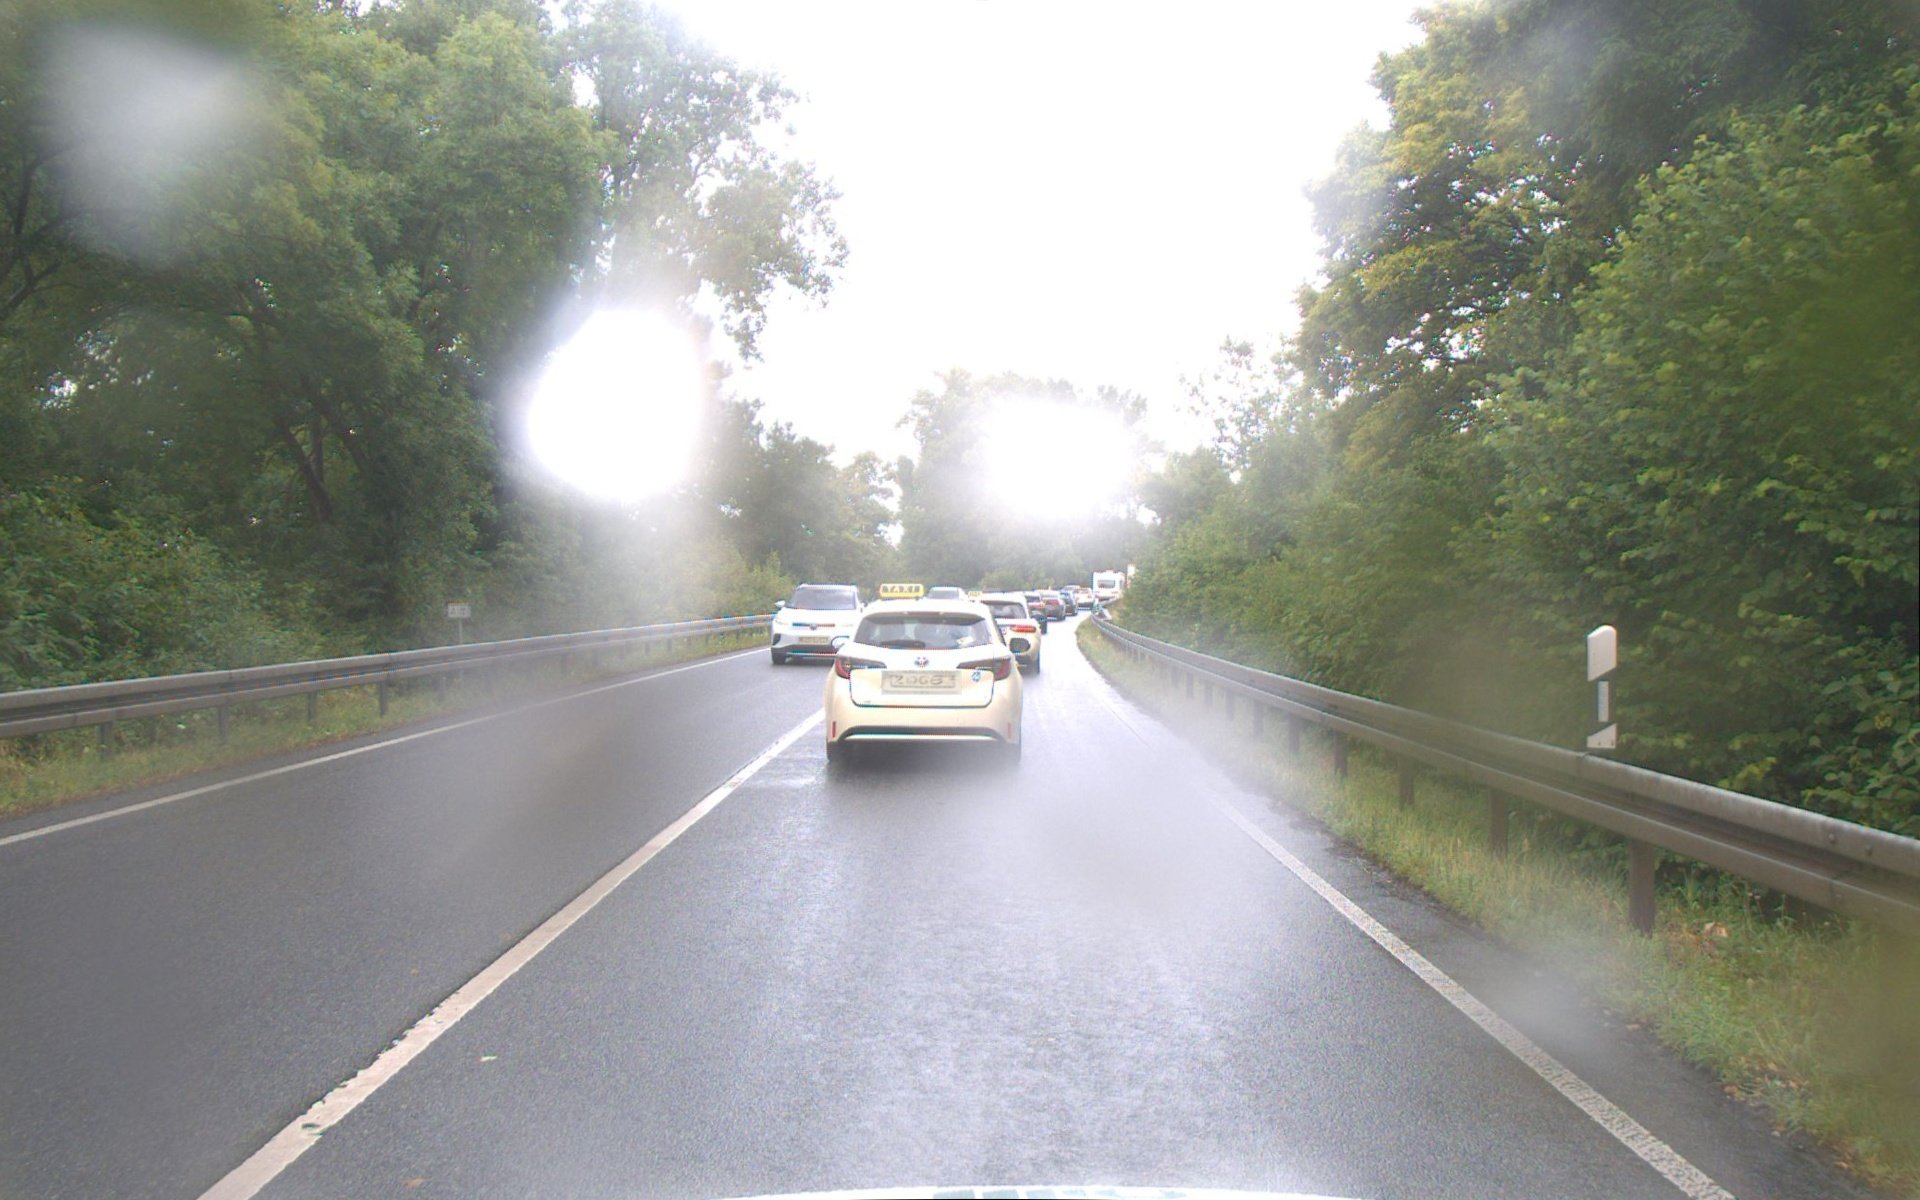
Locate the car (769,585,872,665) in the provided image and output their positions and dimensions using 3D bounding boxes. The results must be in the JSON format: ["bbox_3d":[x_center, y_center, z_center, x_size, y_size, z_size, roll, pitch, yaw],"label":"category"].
[{"bbox_3d":[-2.860,0.484,34.760,1.769,1.559,4.206,1,0,0],"label":"car"}]

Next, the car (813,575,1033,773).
[{"bbox_3d":[-0.267,0.633,15.720,1.796,1.608,4.157,1,-1,1],"label":"car"}]

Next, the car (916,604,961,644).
[{"bbox_3d":[-0.893,0.994,70.743,1.657,1.601,4.376,1,0,2],"label":"car"}]

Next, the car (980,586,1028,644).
[{"bbox_3d":[1.233,0.420,46.720,1.274,1.574,3.260,1,-1,1],"label":"car"}]

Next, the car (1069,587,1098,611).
[{"bbox_3d":[8.622,-0.052,114.928,1.732,1.574,3.817,1,-1,8],"label":"car"}]

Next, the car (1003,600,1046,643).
[{"bbox_3d":[2.407,0.834,62.141,1.578,1.574,3.814,0,-1,2],"label":"car"}]

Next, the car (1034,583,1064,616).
[{"bbox_3d":[4.403,-0.003,81.756,1.142,1.574,2.606,1,-1,10],"label":"car"}]

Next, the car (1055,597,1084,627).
[{"bbox_3d":[6.342,0.696,95.638,1.582,1.641,3.623,1,-1,6],"label":"car"}]

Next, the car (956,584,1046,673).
[{"bbox_3d":[0.814,0.542,32.258,1.633,1.608,3.893,1,-1,2],"label":"car"}]

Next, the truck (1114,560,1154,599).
[{"bbox_3d":[18.006,-2.093,170.919,3.041,3.745,7.005,1,-1,15],"label":"truck"}]

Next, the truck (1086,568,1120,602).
[{"bbox_3d":[12.163,-1.226,141.451,2.496,2.760,7.536,1,-1,2],"label":"truck"}]
